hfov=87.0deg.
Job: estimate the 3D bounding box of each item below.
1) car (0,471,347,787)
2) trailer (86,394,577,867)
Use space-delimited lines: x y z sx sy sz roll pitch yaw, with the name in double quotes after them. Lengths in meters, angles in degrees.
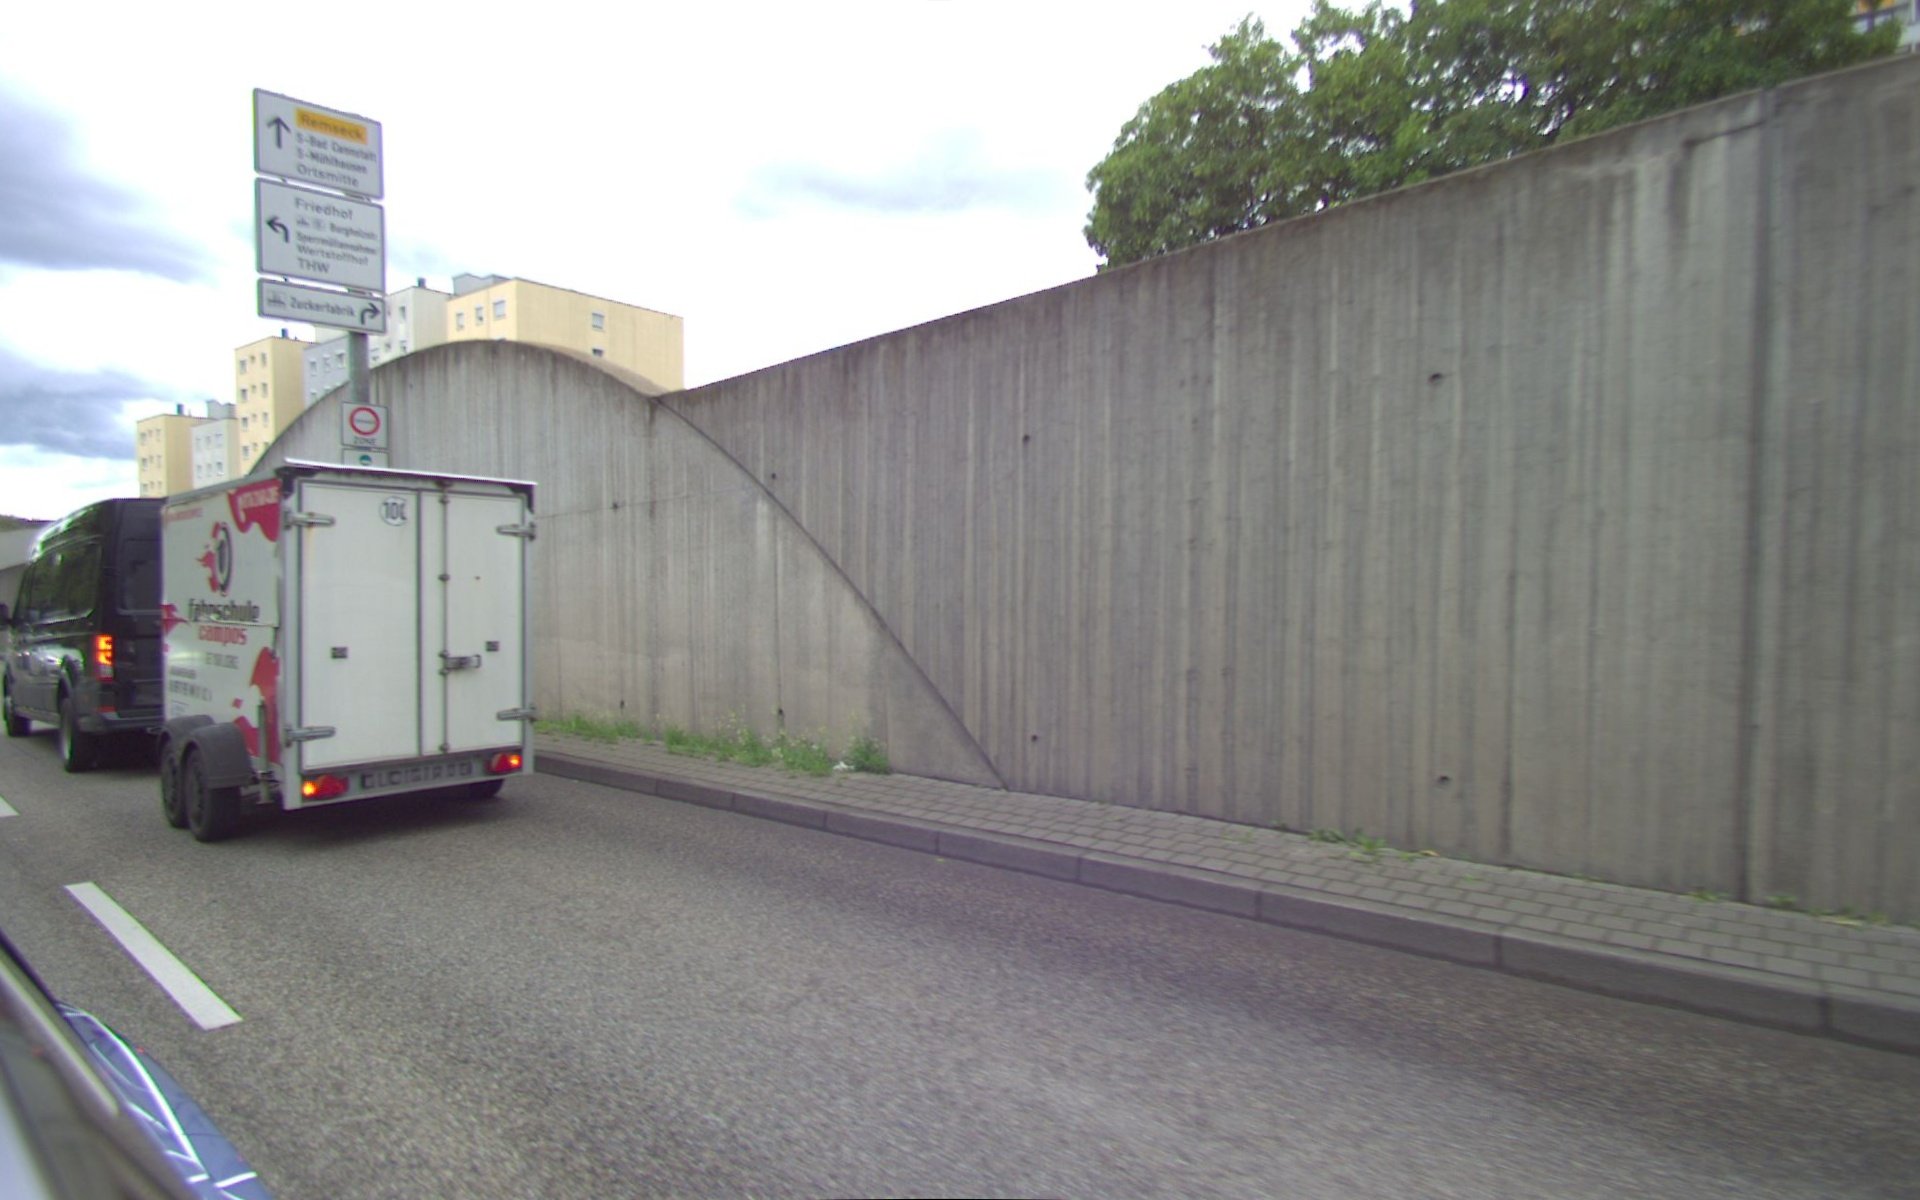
-9.573 0.305 11.737 7.413 2.650 2.088 -1 -1 41 "car"
-5.074 0.205 7.909 4.369 2.650 2.088 -1 -1 41 "trailer"
